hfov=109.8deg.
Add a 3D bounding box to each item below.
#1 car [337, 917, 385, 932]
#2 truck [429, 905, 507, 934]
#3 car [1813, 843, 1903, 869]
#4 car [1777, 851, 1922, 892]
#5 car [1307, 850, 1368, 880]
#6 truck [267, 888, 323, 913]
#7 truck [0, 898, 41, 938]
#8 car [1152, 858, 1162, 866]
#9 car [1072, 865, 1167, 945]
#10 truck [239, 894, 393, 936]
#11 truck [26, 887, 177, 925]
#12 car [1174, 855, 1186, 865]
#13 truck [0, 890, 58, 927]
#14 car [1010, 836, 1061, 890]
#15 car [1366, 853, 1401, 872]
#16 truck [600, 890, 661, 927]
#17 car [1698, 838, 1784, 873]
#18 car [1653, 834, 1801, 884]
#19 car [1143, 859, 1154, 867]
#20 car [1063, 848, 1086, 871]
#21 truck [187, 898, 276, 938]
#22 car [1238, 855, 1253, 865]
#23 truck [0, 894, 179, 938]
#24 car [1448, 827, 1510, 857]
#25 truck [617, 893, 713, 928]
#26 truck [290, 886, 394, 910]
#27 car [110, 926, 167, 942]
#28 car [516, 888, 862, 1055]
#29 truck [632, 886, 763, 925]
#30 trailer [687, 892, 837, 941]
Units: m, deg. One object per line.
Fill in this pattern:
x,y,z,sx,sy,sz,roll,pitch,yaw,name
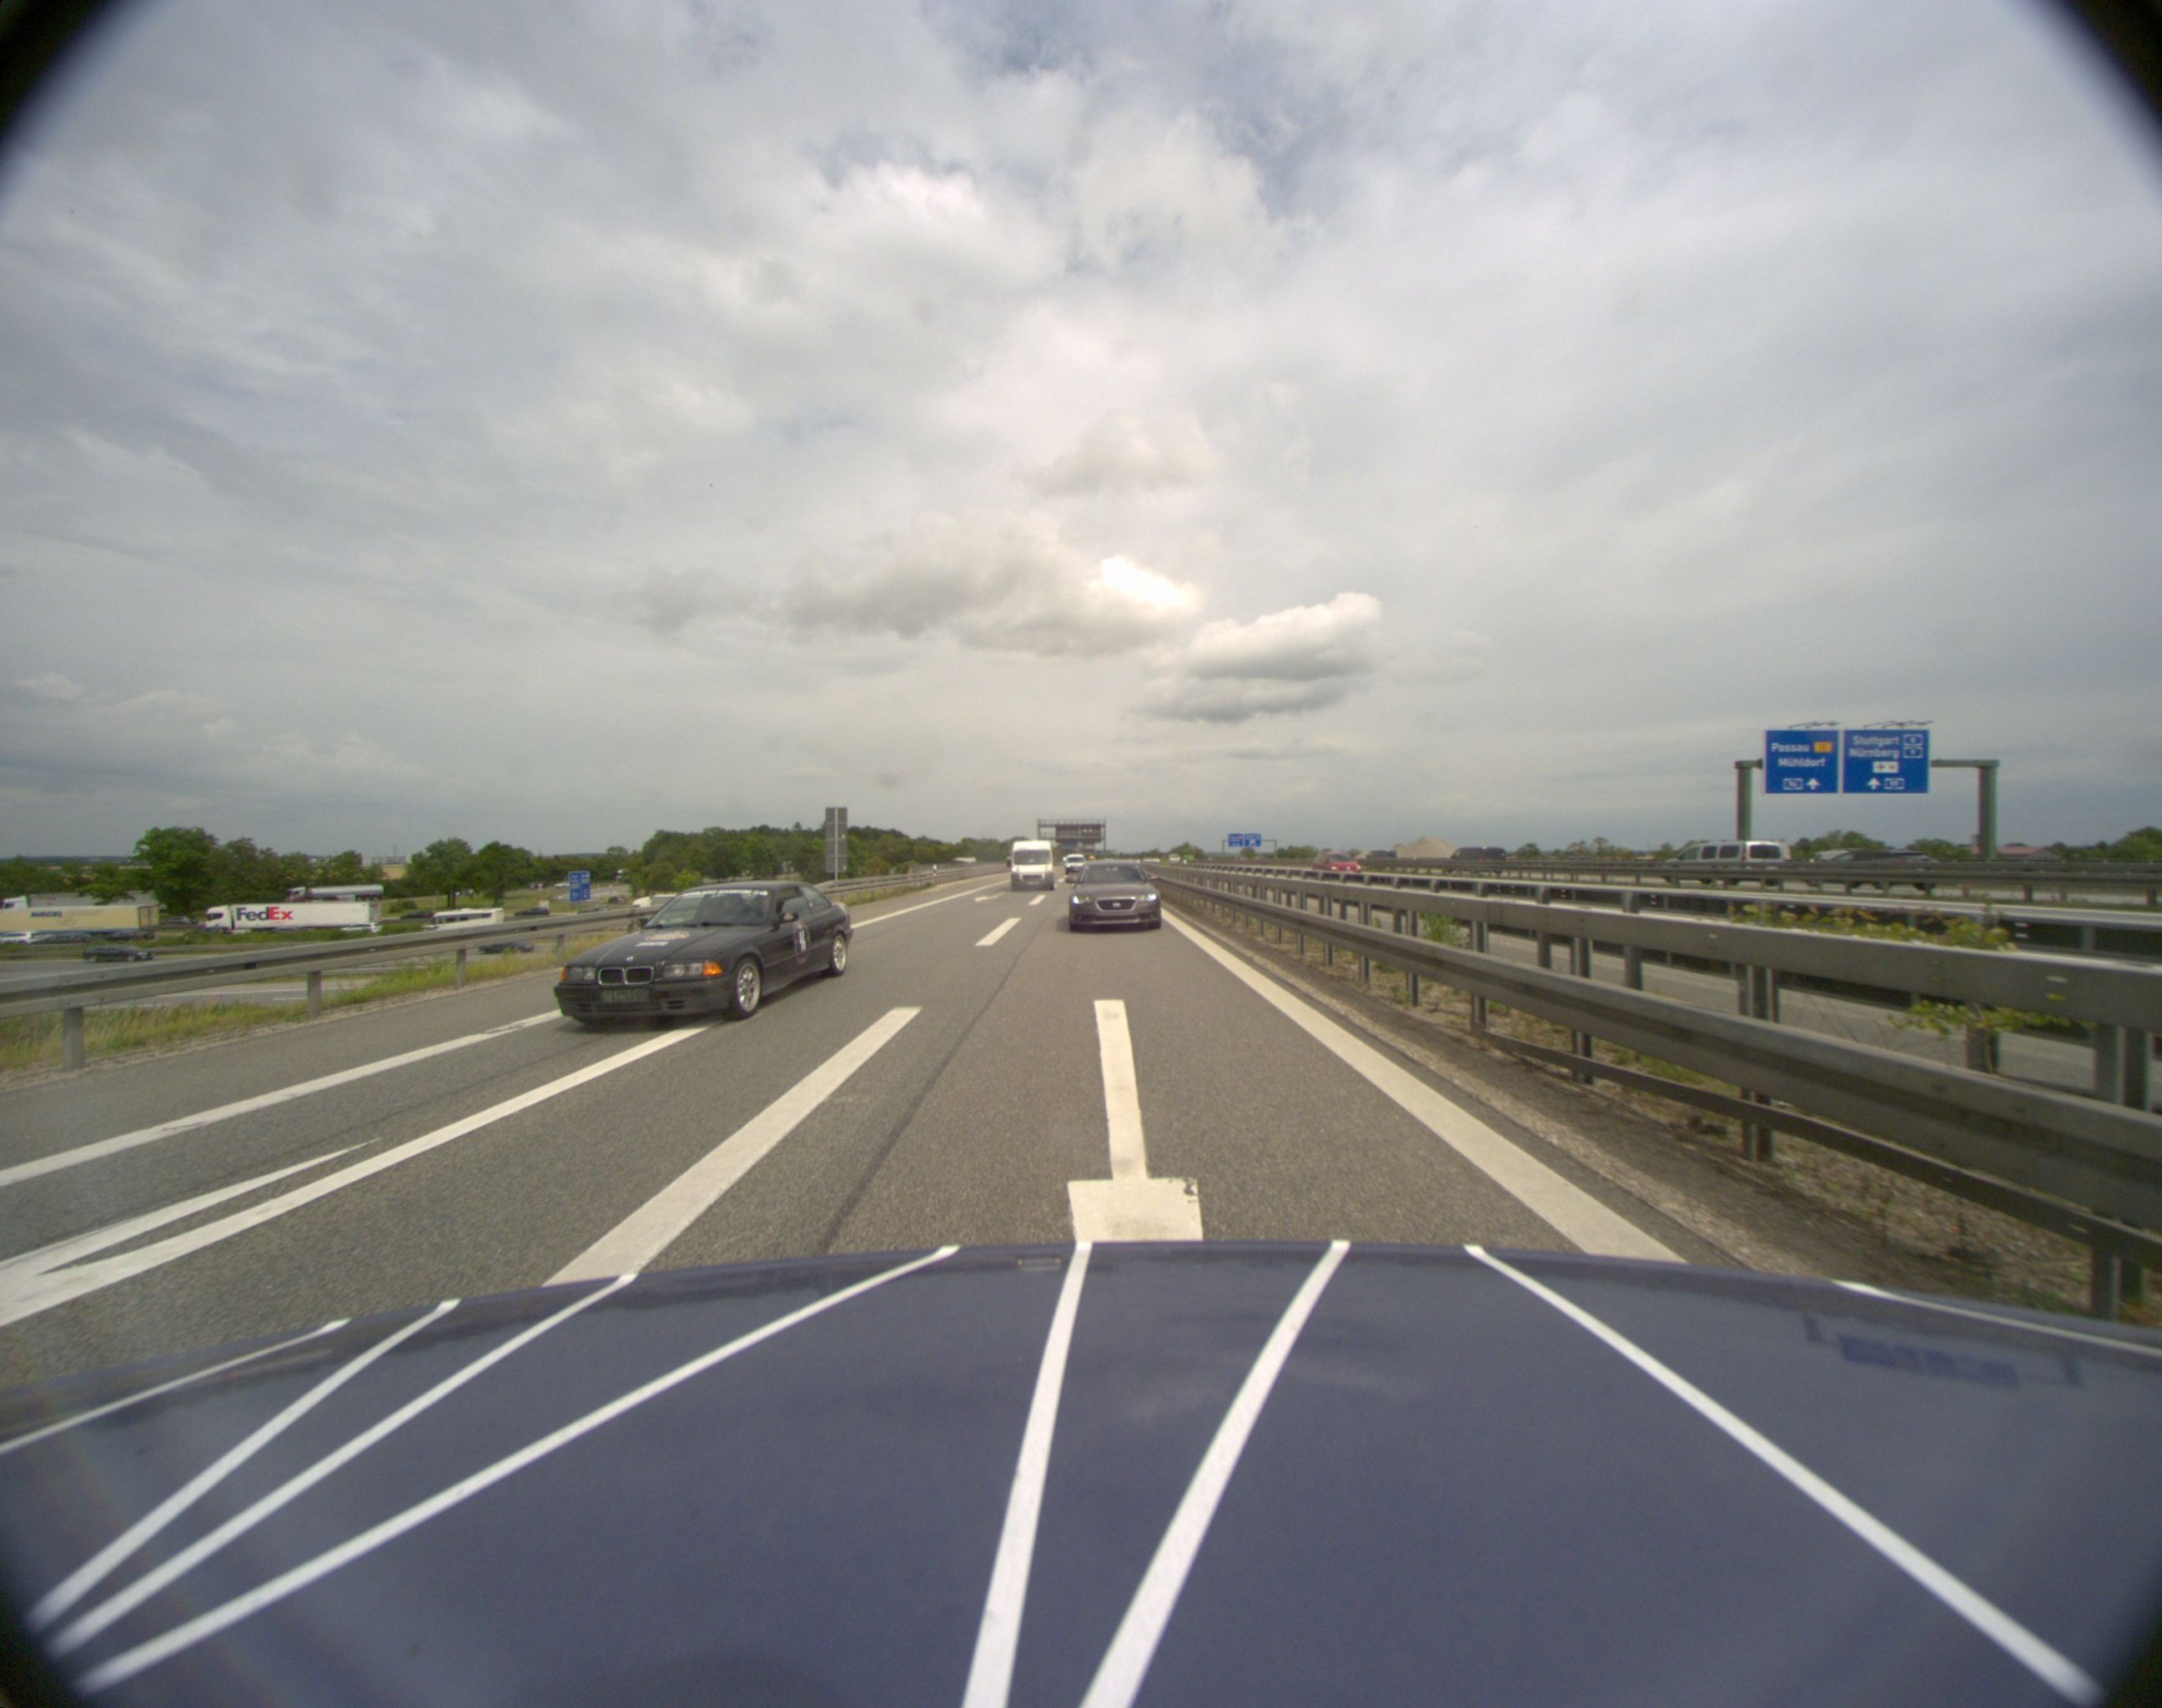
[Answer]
-90.498,8.867,95.543,4.002,1.546,1.671,-1,0,-14,car
-79.270,8.405,98.354,7.570,3.178,2.230,-2,0,-14,truck
49.324,0.119,48.346,1.670,1.487,3.910,-5,0,0,car
30.139,0.642,29.993,1.658,1.425,4.000,-3,0,0,car
14.200,0.589,42.365,1.824,1.536,4.354,-2,-1,-1,car
-148.350,8.732,143.426,3.155,4.162,6.452,-2,0,22,truck
-130.457,7.763,90.647,6.296,4.484,3.928,-2,0,-14,truck
19.142,2.042,192.168,1.999,1.870,4.000,-2,-1,-1,car
0.753,0.983,16.247,1.747,1.380,4.000,-2,0,1,car
-98.655,7.841,98.365,13.797,4.527,4.004,-2,0,-14,truck
-159.836,8.312,124.399,3.851,5.183,14.888,-2,-1,36,truck
20.087,1.185,154.499,1.998,2.001,4.466,-2,-1,1,car
-164.676,8.399,118.011,3.848,5.282,6.456,-2,1,42,truck
-2.190,0.460,38.338,2.119,2.439,6.152,-2,-1,0,car
31.322,0.840,78.868,1.911,1.805,4.222,-3,-1,0,car
-63.675,7.682,107.621,6.295,4.647,3.928,-2,1,-12,truck
45.552,0.116,52.609,1.998,2.292,4.490,-2,0,0,car
26.510,0.193,31.450,1.915,1.783,4.823,-5,0,0,car
15.549,2.036,175.391,1.999,1.739,4.000,-2,-1,-1,car
-0.518,0.520,66.339,1.846,1.870,4.289,-2,-1,0,car
-107.375,8.073,96.186,6.296,4.484,3.928,-2,0,-13,truck
28.667,1.037,132.590,1.914,1.783,4.001,-2,-1,2,car
-122.239,7.519,92.726,16.372,4.527,4.004,-2,0,-14,truck
26.942,-0.779,51.618,1.746,1.797,4.902,-4,0,3,car
-55.910,7.586,102.426,10.790,4.047,3.237,-2,0,-17,truck
-145.733,8.604,150.317,3.079,4.065,14.755,-2,-1,21,truck
-112.324,9.545,90.599,4.001,1.477,1.736,-1,0,-13,car
-4.092,1.135,8.893,1.708,1.273,4.366,-2,-1,1,car
-54.947,7.388,109.575,16.179,4.673,3.989,-2,1,-13,truck
-33.000,6.456,79.346,13.958,4.261,3.128,-1,0,-13,trailer
